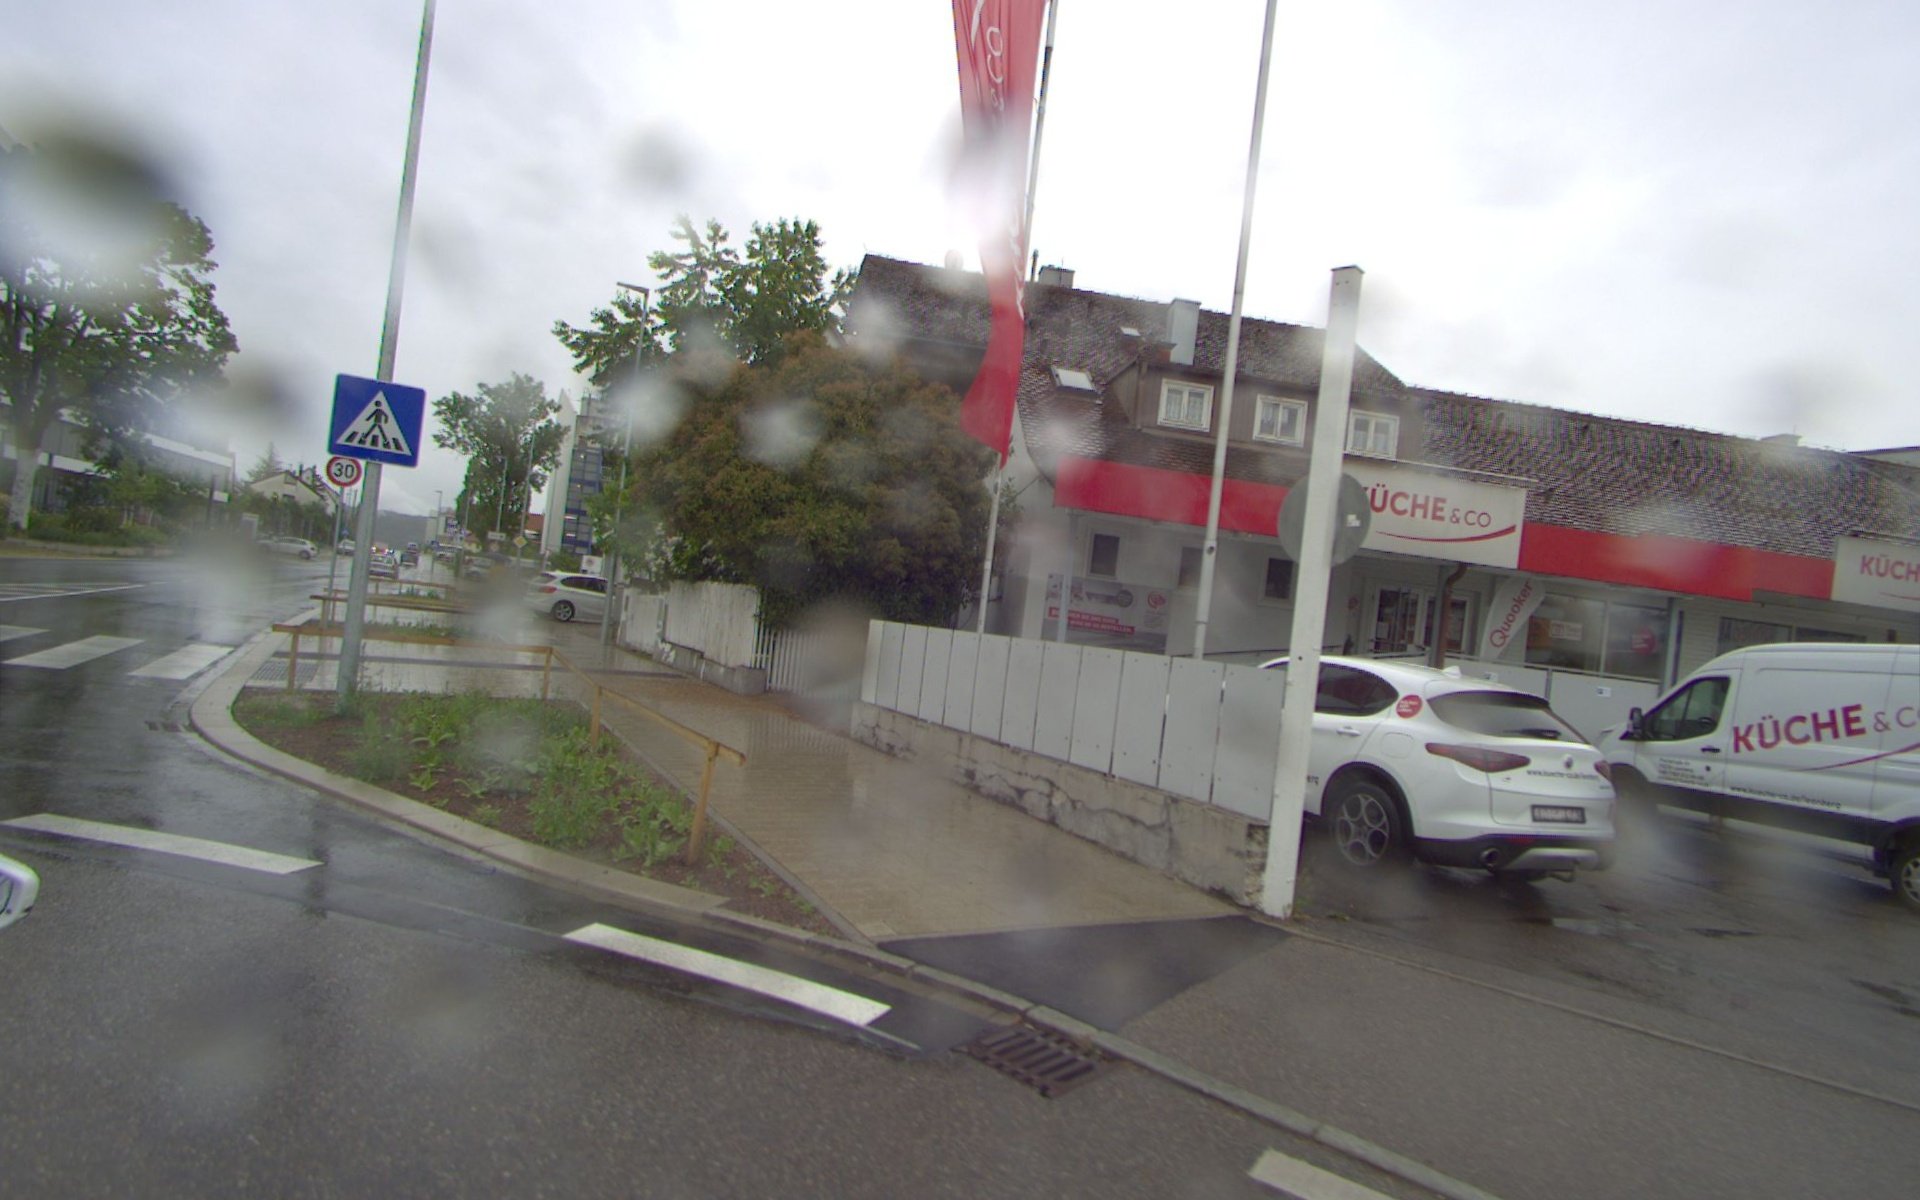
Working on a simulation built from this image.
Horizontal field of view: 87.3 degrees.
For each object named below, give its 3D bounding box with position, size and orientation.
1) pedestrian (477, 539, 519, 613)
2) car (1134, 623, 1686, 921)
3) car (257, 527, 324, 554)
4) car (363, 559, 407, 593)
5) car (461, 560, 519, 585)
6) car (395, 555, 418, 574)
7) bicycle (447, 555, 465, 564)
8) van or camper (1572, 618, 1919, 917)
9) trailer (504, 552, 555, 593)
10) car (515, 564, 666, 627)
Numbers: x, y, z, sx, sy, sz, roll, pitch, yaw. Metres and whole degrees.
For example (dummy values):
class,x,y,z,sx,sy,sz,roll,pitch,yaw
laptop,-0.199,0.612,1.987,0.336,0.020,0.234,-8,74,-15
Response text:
class,x,y,z,sx,sy,sz,roll,pitch,yaw
pedestrian,-13.400,-0.693,29.141,0.852,2.039,1.186,5,1,-30
car,3.517,1.278,8.816,1.823,1.711,4.148,8,-1,-22
car,-50.877,-4.522,76.533,3.896,1.439,1.885,8,-1,-28
car,-33.426,-1.386,58.404,1.937,1.571,3.970,12,-5,-31
car,-40.176,-2.360,86.021,4.159,1.670,1.992,6,0,-19
car,-65.856,-4.172,119.675,2.140,1.723,3.974,12,-5,-28
bicycle,-80.355,-6.445,160.322,3.567,1.077,0.671,8,-4,30
van or camper,9.436,1.659,10.457,2.094,2.571,5.255,7,-1,-9
trailer,-27.069,-1.703,63.281,2.679,2.197,1.538,8,-1,-27
car,-12.047,-0.120,32.966,4.114,1.600,1.976,6,0,-43
